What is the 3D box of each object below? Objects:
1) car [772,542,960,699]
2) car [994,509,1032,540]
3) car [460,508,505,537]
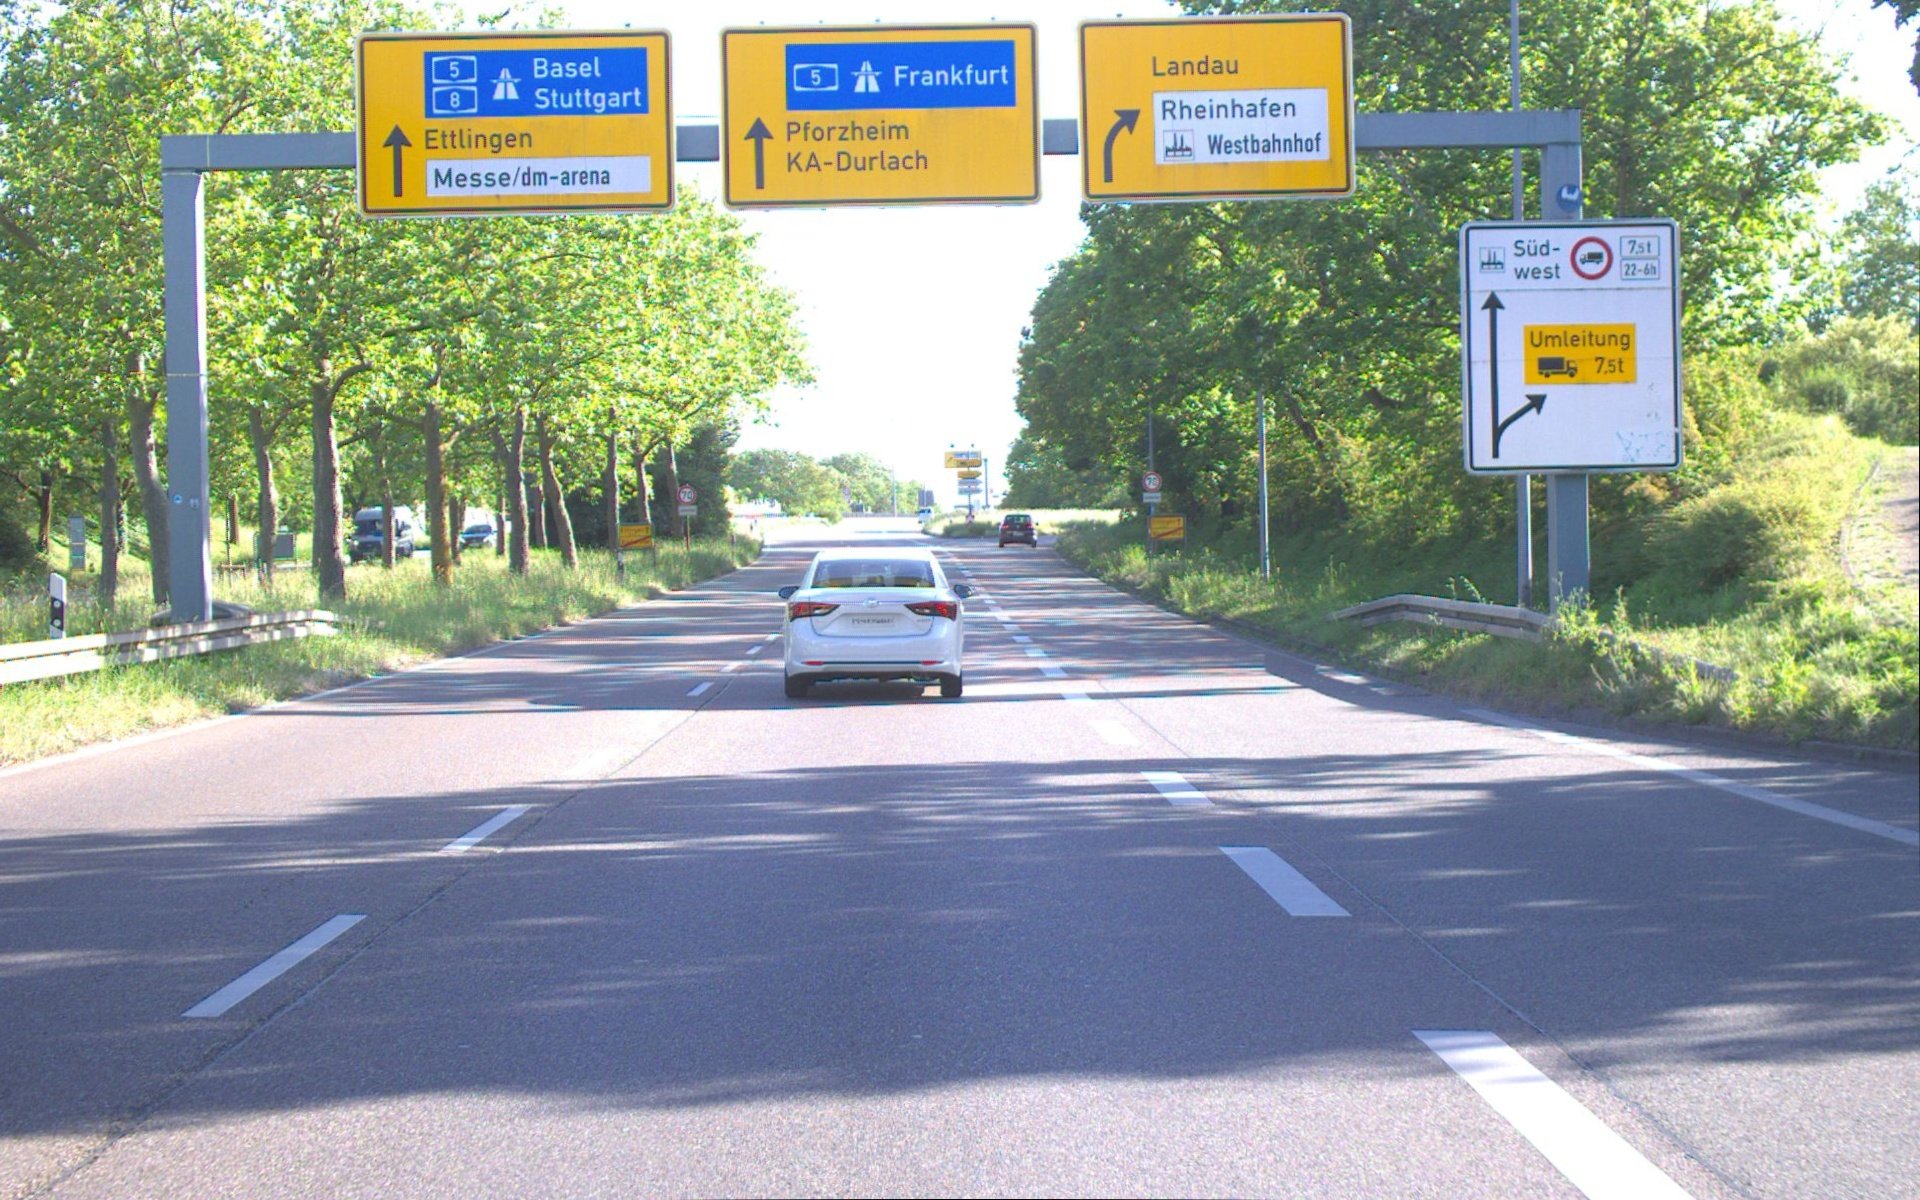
[{"bbox_3d":[-0.906,0.158,35.316,1.767,1.459,4.366,-1,1,0],"label":"car"},{"bbox_3d":[2.527,-3.594,163.441,1.767,1.459,4.366,-1,1,1],"label":"car"},{"bbox_3d":[-25.178,-4.081,181.266,1.767,1.459,4.366,-1,1,-1],"label":"car"}]
